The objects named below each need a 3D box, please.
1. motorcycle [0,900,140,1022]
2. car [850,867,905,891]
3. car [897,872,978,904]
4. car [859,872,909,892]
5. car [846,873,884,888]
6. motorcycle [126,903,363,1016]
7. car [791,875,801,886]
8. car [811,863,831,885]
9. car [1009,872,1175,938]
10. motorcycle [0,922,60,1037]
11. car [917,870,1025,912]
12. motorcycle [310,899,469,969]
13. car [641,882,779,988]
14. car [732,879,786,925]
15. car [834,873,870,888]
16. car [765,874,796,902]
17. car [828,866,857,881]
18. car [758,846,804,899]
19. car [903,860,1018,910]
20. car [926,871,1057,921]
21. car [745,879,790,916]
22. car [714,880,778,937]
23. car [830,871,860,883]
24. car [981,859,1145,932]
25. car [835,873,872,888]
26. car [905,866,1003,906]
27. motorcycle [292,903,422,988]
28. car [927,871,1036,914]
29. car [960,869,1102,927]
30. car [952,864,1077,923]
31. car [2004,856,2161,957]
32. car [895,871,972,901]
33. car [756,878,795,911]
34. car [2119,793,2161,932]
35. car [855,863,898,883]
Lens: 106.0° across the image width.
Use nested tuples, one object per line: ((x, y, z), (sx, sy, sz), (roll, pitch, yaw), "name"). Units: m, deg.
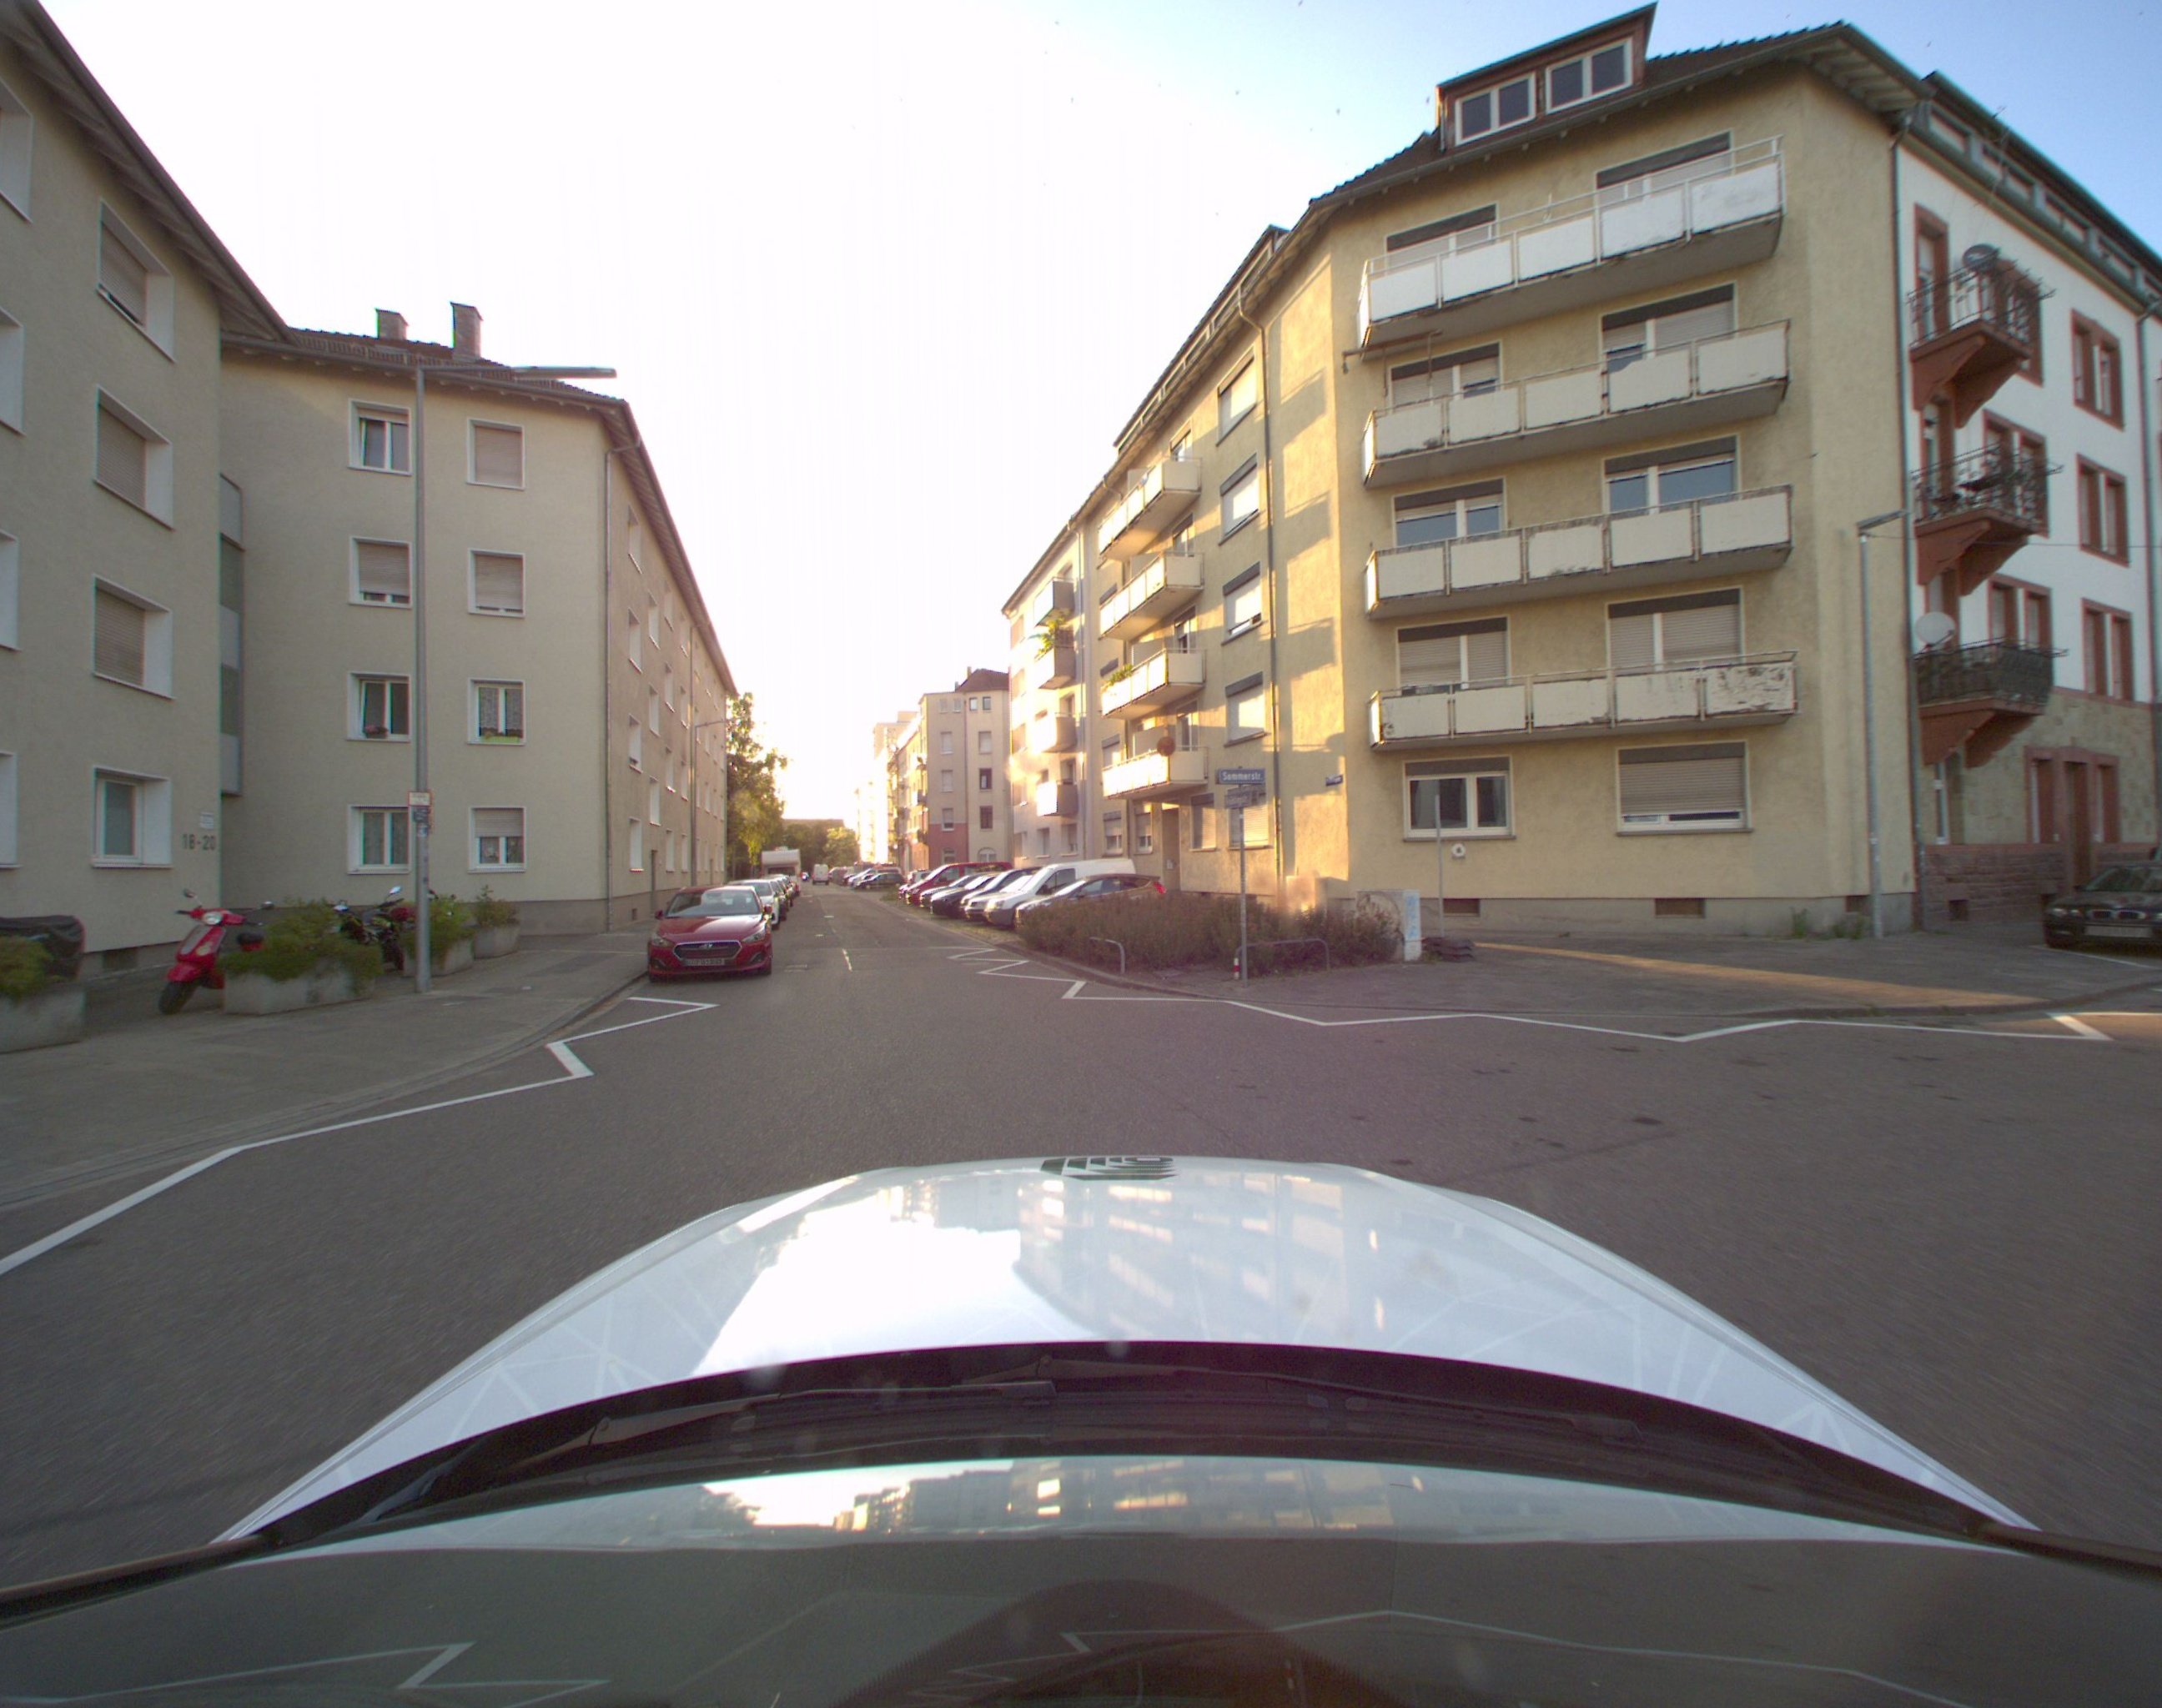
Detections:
((-11.993, 1.186, 9.106), (0.723, 1.265, 2.074), (-1, -1, -9), "motorcycle")
((-19.335, 2.342, 77.265), (4.830, 1.968, 1.727), (-2, -1, -20), "car")
((-7.341, 1.717, 41.575), (3.825, 1.428, 1.623), (-3, -1, -20), "car")
((-17.105, 2.401, 70.586), (4.000, 1.530, 1.648), (-2, -1, -20), "car")
((-24.683, 3.003, 93.152), (4.000, 1.530, 1.648), (-2, -1, -20), "car")
((-10.122, 1.226, 9.995), (0.685, 1.160, 2.037), (-1, -1, 5), "motorcycle")
((-50.430, 4.647, 144.074), (1.659, 1.830, 3.848), (-2, -1, -21), "car")
((-34.208, 2.600, 107.183), (2.136, 2.717, 4.799), (-2, -1, -21), "car")
((0.270, 1.256, 20.862), (3.884, 1.492, 1.730), (-1, -1, -19), "car")
((-10.825, 1.220, 7.278), (0.720, 1.079, 2.081), (-1, -1, 2), "motorcycle")
((-4.610, 1.523, 34.096), (4.159, 1.471, 1.625), (-3, -1, -20), "car")
((-11.978, 1.366, 14.151), (2.122, 1.105, 0.558), (-1, -2, -8), "motorcycle")
((-6.214, 1.246, 14.052), (1.852, 1.473, 4.049), (-1, -1, -21), "car")
((-11.585, 1.675, 29.419), (1.665, 1.435, 4.002), (-2, -1, -21), "car")
((-27.253, 3.153, 96.939), (4.000, 1.530, 1.648), (-2, -1, -20), "car")
((-18.206, 2.014, 49.452), (1.658, 1.541, 3.851), (-2, -1, -19), "car")
((-43.559, 3.517, 148.700), (4.830, 2.408, 1.727), (-2, -1, -20), "car")
((-20.632, 1.283, 56.284), (2.628, 3.269, 7.647), (-2, -1, -19), "car")
((-5.428, 1.361, 36.502), (4.738, 1.909, 2.045), (-3, -1, -20), "car")
((-3.195, 1.455, 28.966), (4.322, 1.450, 1.644), (-3, -1, -19), "car")
((-13.562, 1.828, 35.302), (1.659, 1.435, 3.769), (-2, -1, -21), "car")
((-9.987, 1.577, 24.473), (1.622, 1.473, 3.480), (-2, -1, -21), "car")
((-33.703, 3.221, 116.504), (4.000, 1.530, 1.648), (-2, -1, -20), "car")
((-0.533, 1.125, 23.000), (4.293, 1.861, 1.730), (-1, -2, -19), "car")
((-26.568, 3.101, 95.109), (4.000, 1.530, 1.648), (-2, -1, -20), "car")
((-6.125, 1.532, 39.233), (4.339, 1.637, 1.805), (-3, -1, -20), "car")
((-10.783, 1.314, 12.225), (0.684, 1.079, 2.022), (-1, -1, -18), "motorcycle")
((-3.860, 1.478, 31.613), (3.890, 1.416, 1.624), (-3, -1, -21), "car")
((-1.528, 1.284, 24.742), (3.968, 1.522, 1.695), (-1, -1, -19), "car")
((-2.225, 1.274, 27.038), (3.803, 1.695, 1.644), (-3, -1, -19), "car")
((16.885, 0.749, 12.832), (4.004, 1.371, 1.985), (-1, 1, -23), "car")
((-7.987, 1.716, 44.003), (3.825, 1.428, 1.623), (-3, -1, -20), "car")
((-15.022, 1.951, 40.109), (1.659, 1.435, 3.848), (-2, -1, -21), "car")
((22.572, 0.126, 15.392), (6.043, 2.530, 2.215), (-1, 1, -23), "car")
((-20.872, 1.943, 83.180), (4.004, 2.014, 1.984), (-1, -1, -23), "car")
